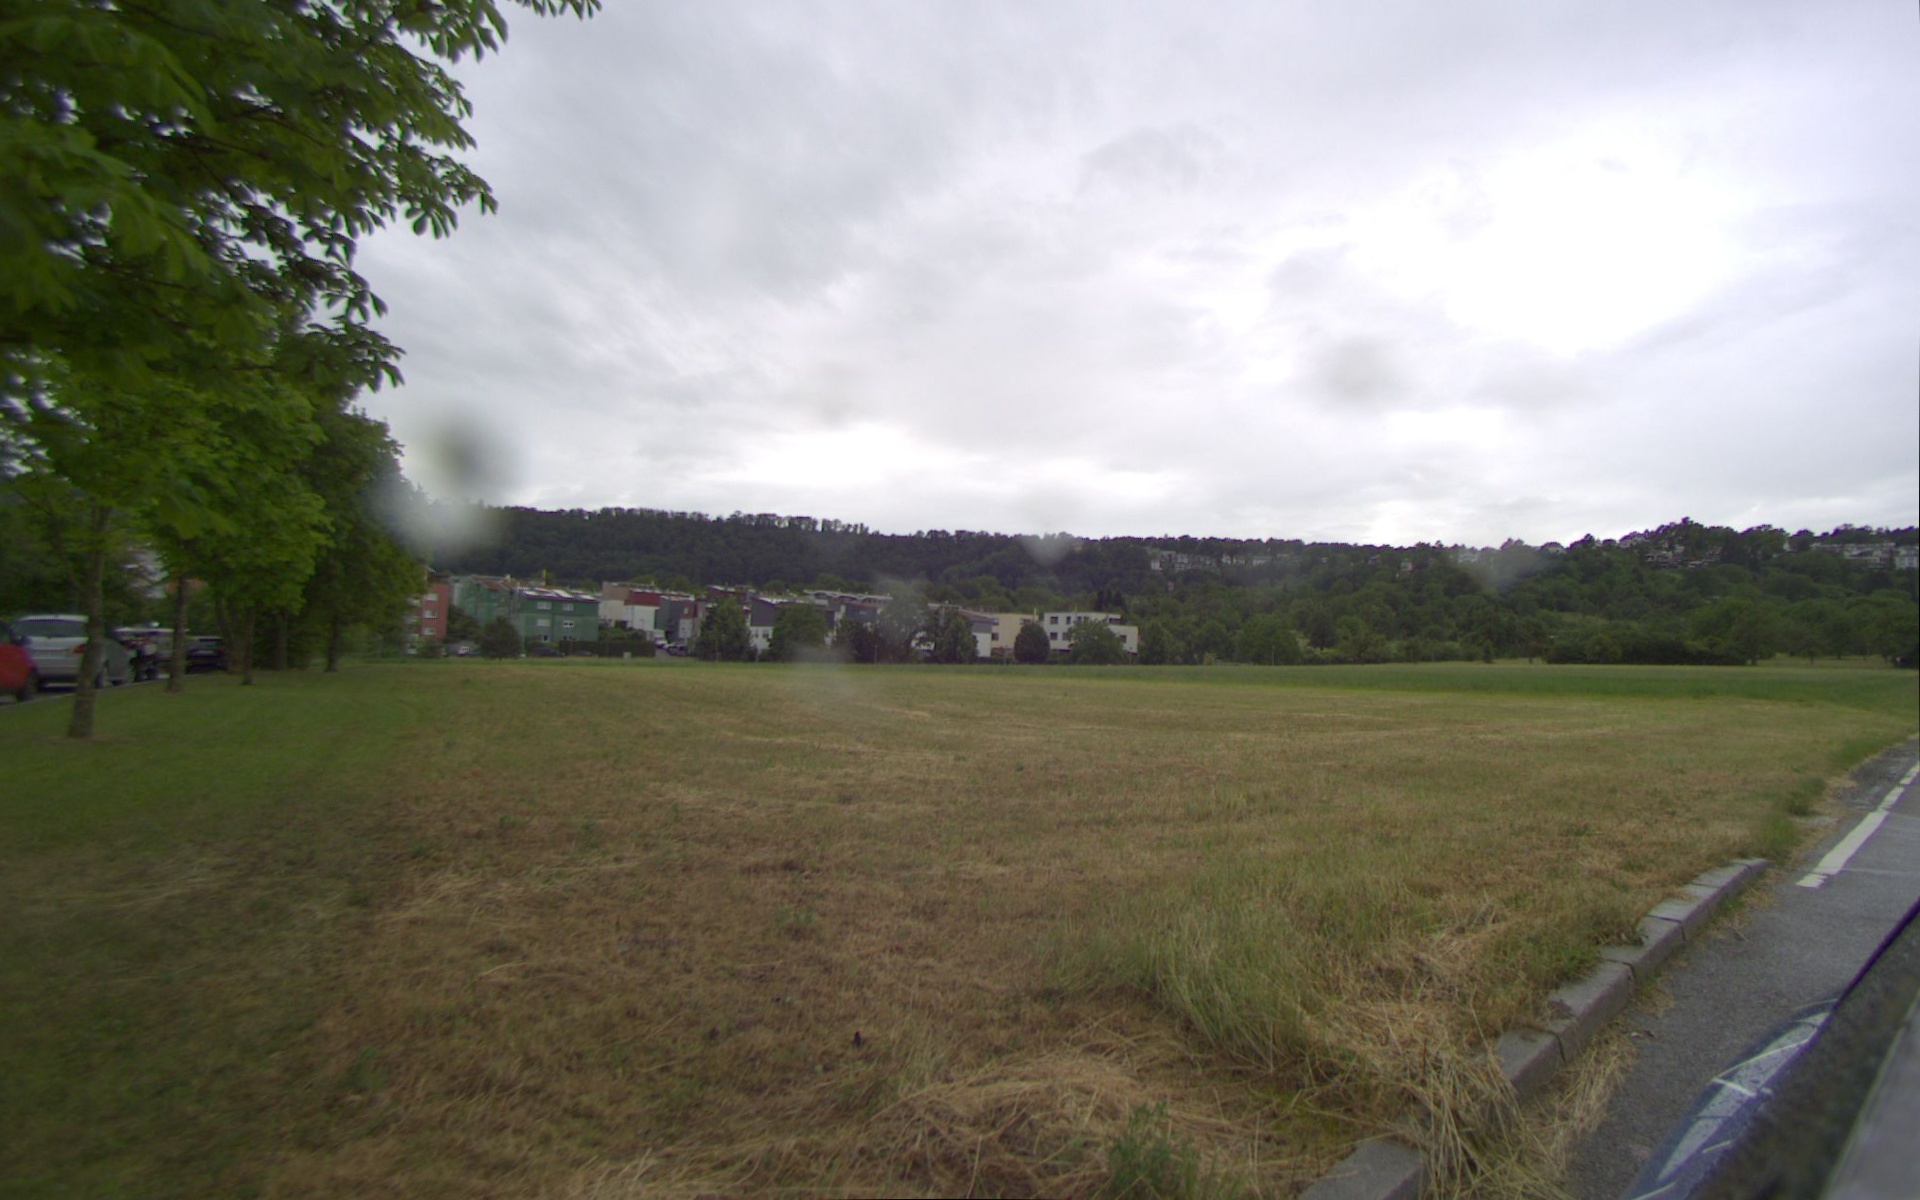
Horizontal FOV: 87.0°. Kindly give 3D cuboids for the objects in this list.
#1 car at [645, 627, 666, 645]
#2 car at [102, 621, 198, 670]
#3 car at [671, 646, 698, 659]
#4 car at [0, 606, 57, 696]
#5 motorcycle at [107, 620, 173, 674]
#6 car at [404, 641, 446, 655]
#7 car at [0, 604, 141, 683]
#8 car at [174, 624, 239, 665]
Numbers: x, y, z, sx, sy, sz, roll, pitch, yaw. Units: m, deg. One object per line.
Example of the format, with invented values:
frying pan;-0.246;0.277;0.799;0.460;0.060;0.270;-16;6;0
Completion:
car;-57.381;6.792;190.752;2.100;3.266;5.087;2;-2;-36
car;-23.492;1.307;29.473;1.699;1.297;3.330;3;-2;-31
car;-48.393;9.264;177.838;3.926;2.040;1.998;4;-3;-39
car;-16.593;0.818;16.816;1.521;1.455;3.016;2;-2;-26
motorcycle;-21.436;1.225;26.509;0.952;1.319;2.266;4;-4;-31
car;-79.295;7.087;150.024;5.178;2.039;2.000;2;-2;-35
car;-19.568;0.944;22.232;1.815;1.572;3.992;3;-3;-31
car;-32.853;1.993;44.219;1.923;1.629;3.999;3;-5;-33
